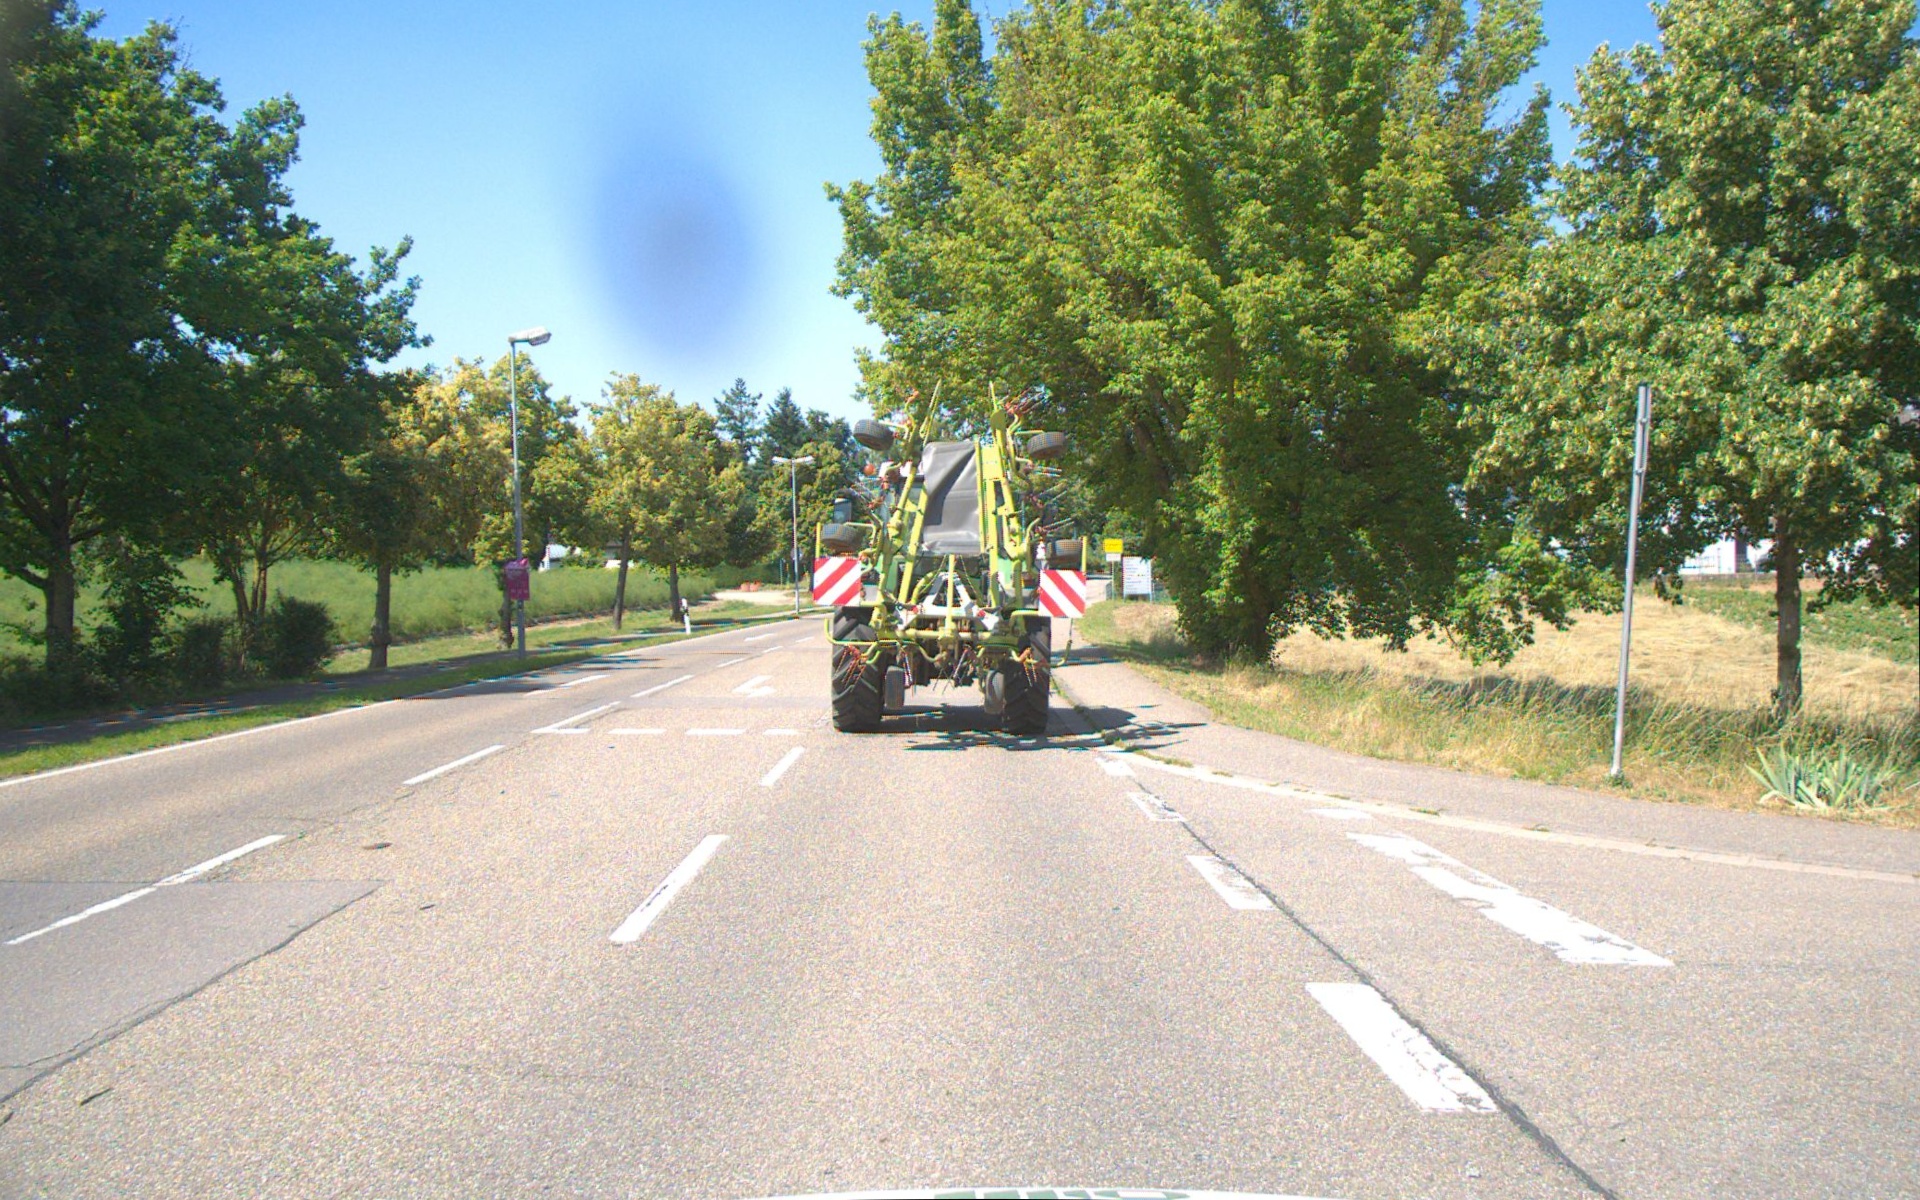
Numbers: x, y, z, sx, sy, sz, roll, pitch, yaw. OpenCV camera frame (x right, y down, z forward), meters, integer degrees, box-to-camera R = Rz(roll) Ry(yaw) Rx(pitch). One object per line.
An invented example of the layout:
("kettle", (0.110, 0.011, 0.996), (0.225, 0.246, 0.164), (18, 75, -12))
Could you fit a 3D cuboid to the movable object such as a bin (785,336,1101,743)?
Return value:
("movable object such as a bin", (-0.269, -0.592, 19.550), (2.795, 3.603, 9.698), (0, 1, -2))
